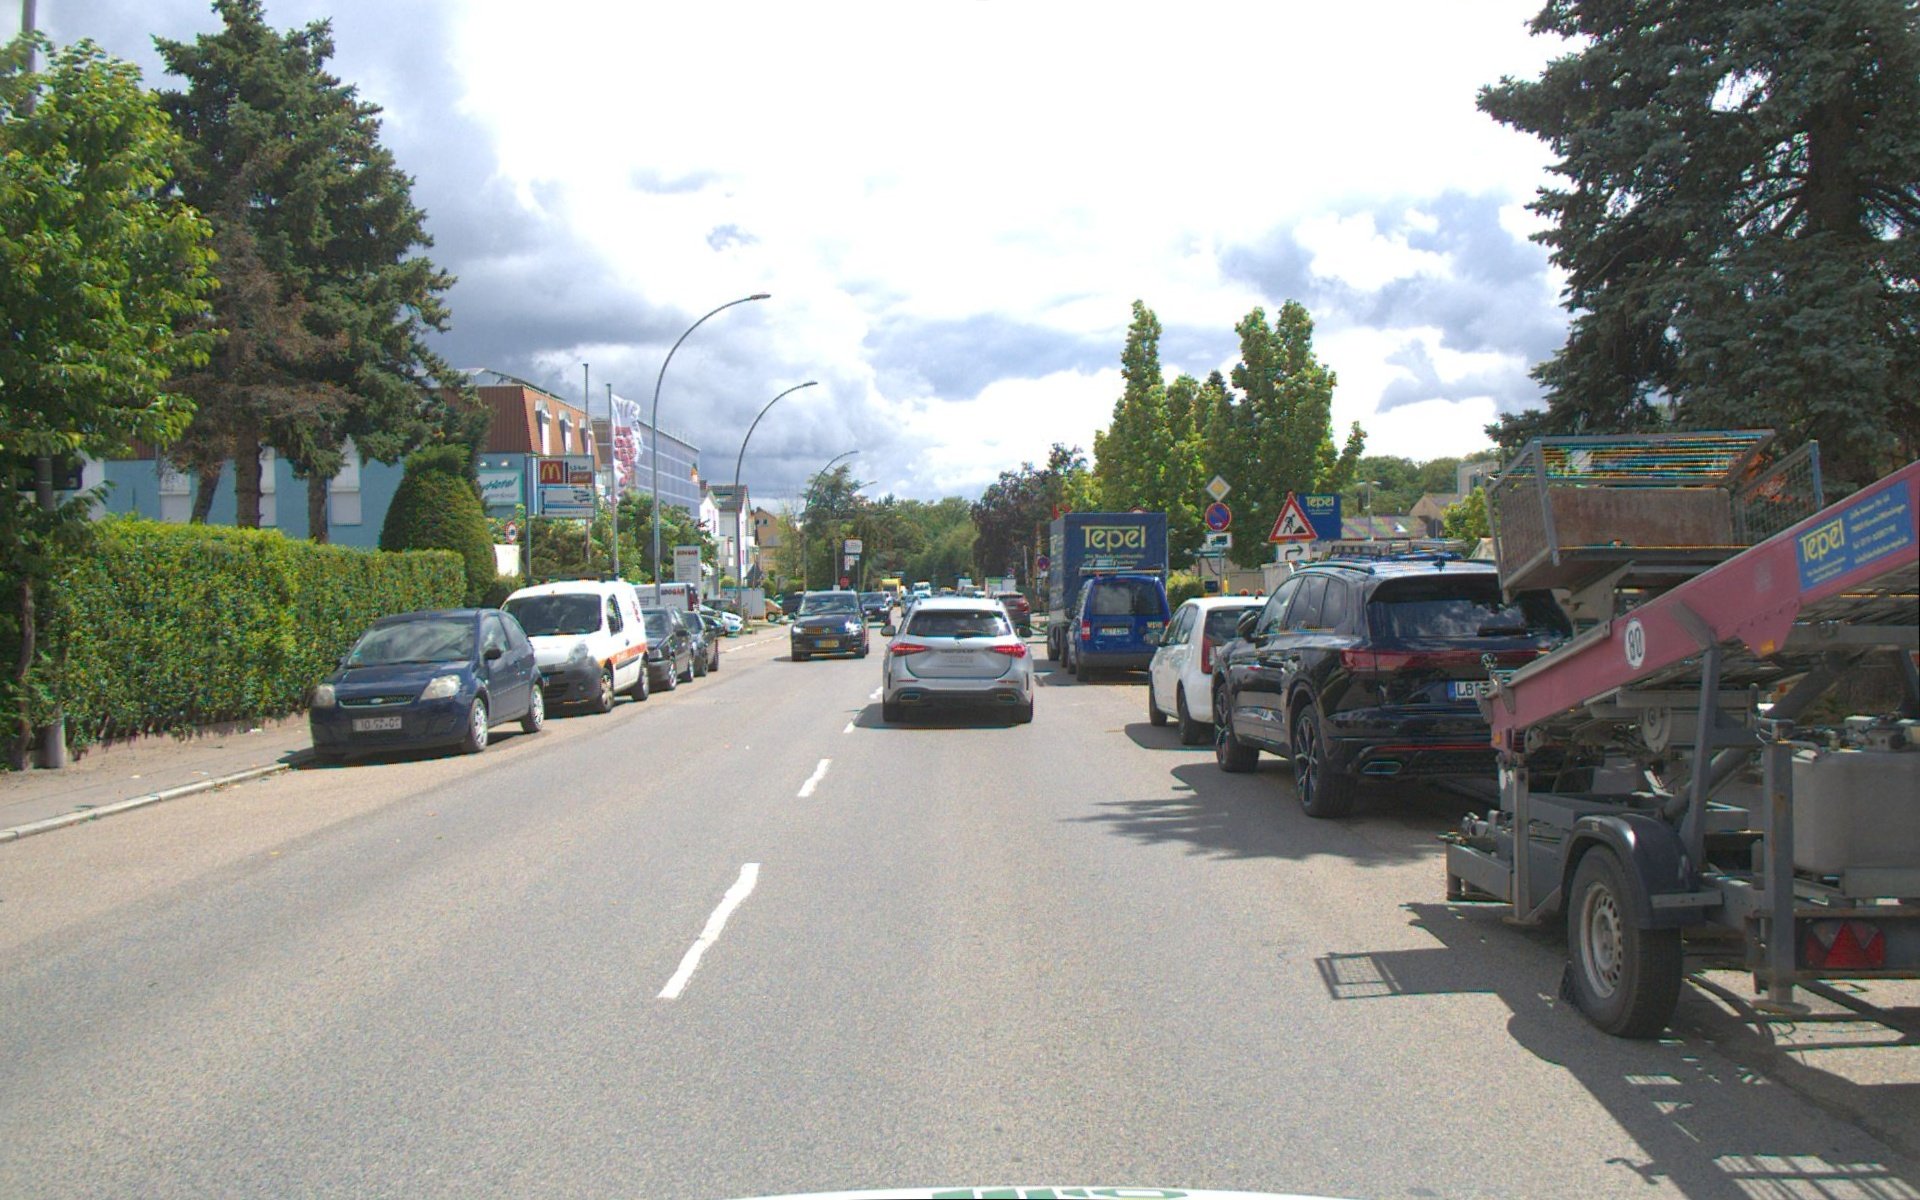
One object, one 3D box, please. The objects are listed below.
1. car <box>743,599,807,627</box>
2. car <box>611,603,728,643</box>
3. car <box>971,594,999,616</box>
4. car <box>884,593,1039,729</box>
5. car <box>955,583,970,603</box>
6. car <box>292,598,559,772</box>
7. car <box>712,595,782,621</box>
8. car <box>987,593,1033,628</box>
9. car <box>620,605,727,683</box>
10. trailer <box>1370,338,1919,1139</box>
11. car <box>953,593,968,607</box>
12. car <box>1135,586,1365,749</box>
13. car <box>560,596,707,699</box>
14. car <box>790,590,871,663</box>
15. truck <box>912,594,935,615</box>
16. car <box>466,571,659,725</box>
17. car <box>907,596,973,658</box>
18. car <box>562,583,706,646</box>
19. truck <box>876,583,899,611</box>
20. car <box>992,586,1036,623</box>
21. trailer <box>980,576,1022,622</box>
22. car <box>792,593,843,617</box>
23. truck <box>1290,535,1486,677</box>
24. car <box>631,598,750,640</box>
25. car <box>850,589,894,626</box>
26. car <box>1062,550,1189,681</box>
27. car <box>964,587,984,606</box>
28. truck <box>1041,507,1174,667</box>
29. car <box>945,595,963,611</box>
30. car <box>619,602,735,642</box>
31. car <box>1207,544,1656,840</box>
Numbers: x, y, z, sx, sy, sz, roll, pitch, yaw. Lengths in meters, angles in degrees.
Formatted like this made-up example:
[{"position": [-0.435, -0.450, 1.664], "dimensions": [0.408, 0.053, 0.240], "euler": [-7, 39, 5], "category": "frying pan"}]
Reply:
[{"position": [-13.836, 0.968, 123.842], "dimensions": [4.536, 1.661, 2.196], "euler": [-4, 1, -4], "category": "car"}, {"position": [-10.397, 0.816, 59.420], "dimensions": [3.907, 1.338, 1.871], "euler": [-1, 0, -2], "category": "car"}, {"position": [1.875, 0.364, 123.535], "dimensions": [1.756, 1.475, 4.361], "euler": [-2, 1, -3], "category": "car"}, {"position": [-0.069, 0.675, 20.729], "dimensions": [1.749, 1.510, 4.314], "euler": [0, 0, -2], "category": "car"}, {"position": [0.355, -0.894, 219.797], "dimensions": [1.749, 2.562, 4.314], "euler": [0, 0, -2], "category": "car"}, {"position": [-5.631, 0.815, 17.936], "dimensions": [1.607, 1.512, 3.999], "euler": [-4, 1, -2], "category": "car"}, {"position": [-12.905, 0.481, 100.286], "dimensions": [4.068, 1.518, 1.824], "euler": [1, 0, -4], "category": "car"}, {"position": [2.443, 0.491, 81.906], "dimensions": [1.903, 1.599, 4.443], "euler": [-2, 0, -3], "category": "car"}, {"position": [-5.844, 0.859, 34.146], "dimensions": [1.598, 1.326, 4.115], "euler": [-4, 1, -3], "category": "car"}, {"position": [3.073, 0.339, 6.600], "dimensions": [1.737, 2.182, 4.113], "euler": [-1, 1, -1], "category": "trailer"}, {"position": [0.054, 0.002, 207.415], "dimensions": [1.749, 1.745, 4.314], "euler": [0, 0, -2], "category": "car"}, {"position": [3.044, 0.639, 18.140], "dimensions": [1.737, 1.534, 3.999], "euler": [-2, 1, -1], "category": "car"}, {"position": [-5.632, 0.766, 29.092], "dimensions": [1.709, 1.497, 4.642], "euler": [-4, 1, -2], "category": "car"}, {"position": [-3.148, 0.602, 40.846], "dimensions": [1.708, 1.656, 4.355], "euler": [0, 1, -1], "category": "car"}, {"position": [-4.182, 0.446, 188.455], "dimensions": [2.271, 2.216, 6.450], "euler": [-2, 0, 1], "category": "truck"}, {"position": [-5.550, 0.598, 23.640], "dimensions": [1.709, 1.870, 4.354], "euler": [-4, 1, -2], "category": "car"}, {"position": [-0.576, 0.714, 45.997], "dimensions": [1.720, 1.585, 3.999], "euler": [-1, 1, -1], "category": "car"}, {"position": [-11.110, 0.472, 56.585], "dimensions": [4.560, 2.006, 2.114], "euler": [-1, 1, -4], "category": "car"}, {"position": [-7.879, -0.388, 180.307], "dimensions": [2.032, 2.863, 7.078], "euler": [-2, 1, 1], "category": "truck"}, {"position": [2.471, 0.203, 76.216], "dimensions": [1.901, 1.599, 4.446], "euler": [-2, 0, 1], "category": "car"}, {"position": [2.156, -0.062, 87.604], "dimensions": [1.902, 2.334, 4.444], "euler": [-2, 0, -2], "category": "trailer"}, {"position": [-12.172, 0.422, 141.346], "dimensions": [4.193, 1.868, 1.990], "euler": [-1, -3, -2], "category": "car"}, {"position": [7.328, 0.010, 28.921], "dimensions": [1.792, 2.117, 5.385], "euler": [-4, 2, -1], "category": "truck"}, {"position": [-10.446, 0.732, 64.234], "dimensions": [4.285, 1.504, 1.871], "euler": [-1, -1, -1], "category": "car"}, {"position": [-4.244, 0.349, 80.666], "dimensions": [1.953, 1.644, 4.410], "euler": [-2, 1, -1], "category": "car"}, {"position": [2.959, 0.251, 30.435], "dimensions": [1.835, 2.207, 4.464], "euler": [1, 0, 0], "category": "car"}, {"position": [1.480, -0.347, 182.336], "dimensions": [2.100, 2.018, 5.261], "euler": [-1, 0, 0], "category": "car"}, {"position": [3.079, -0.288, 35.951], "dimensions": [2.273, 3.151, 6.042], "euler": [1, 0, 0], "category": "truck"}, {"position": [-0.594, 0.294, 169.354], "dimensions": [1.720, 1.585, 3.999], "euler": [-1, 1, -1], "category": "car"}, {"position": [-10.494, 0.815, 61.541], "dimensions": [3.904, 1.379, 1.872], "euler": [-1, 1, 1], "category": "car"}, {"position": [3.248, 0.537, 12.488], "dimensions": [1.836, 1.757, 4.711], "euler": [-2, 1, -2], "category": "car"}]
